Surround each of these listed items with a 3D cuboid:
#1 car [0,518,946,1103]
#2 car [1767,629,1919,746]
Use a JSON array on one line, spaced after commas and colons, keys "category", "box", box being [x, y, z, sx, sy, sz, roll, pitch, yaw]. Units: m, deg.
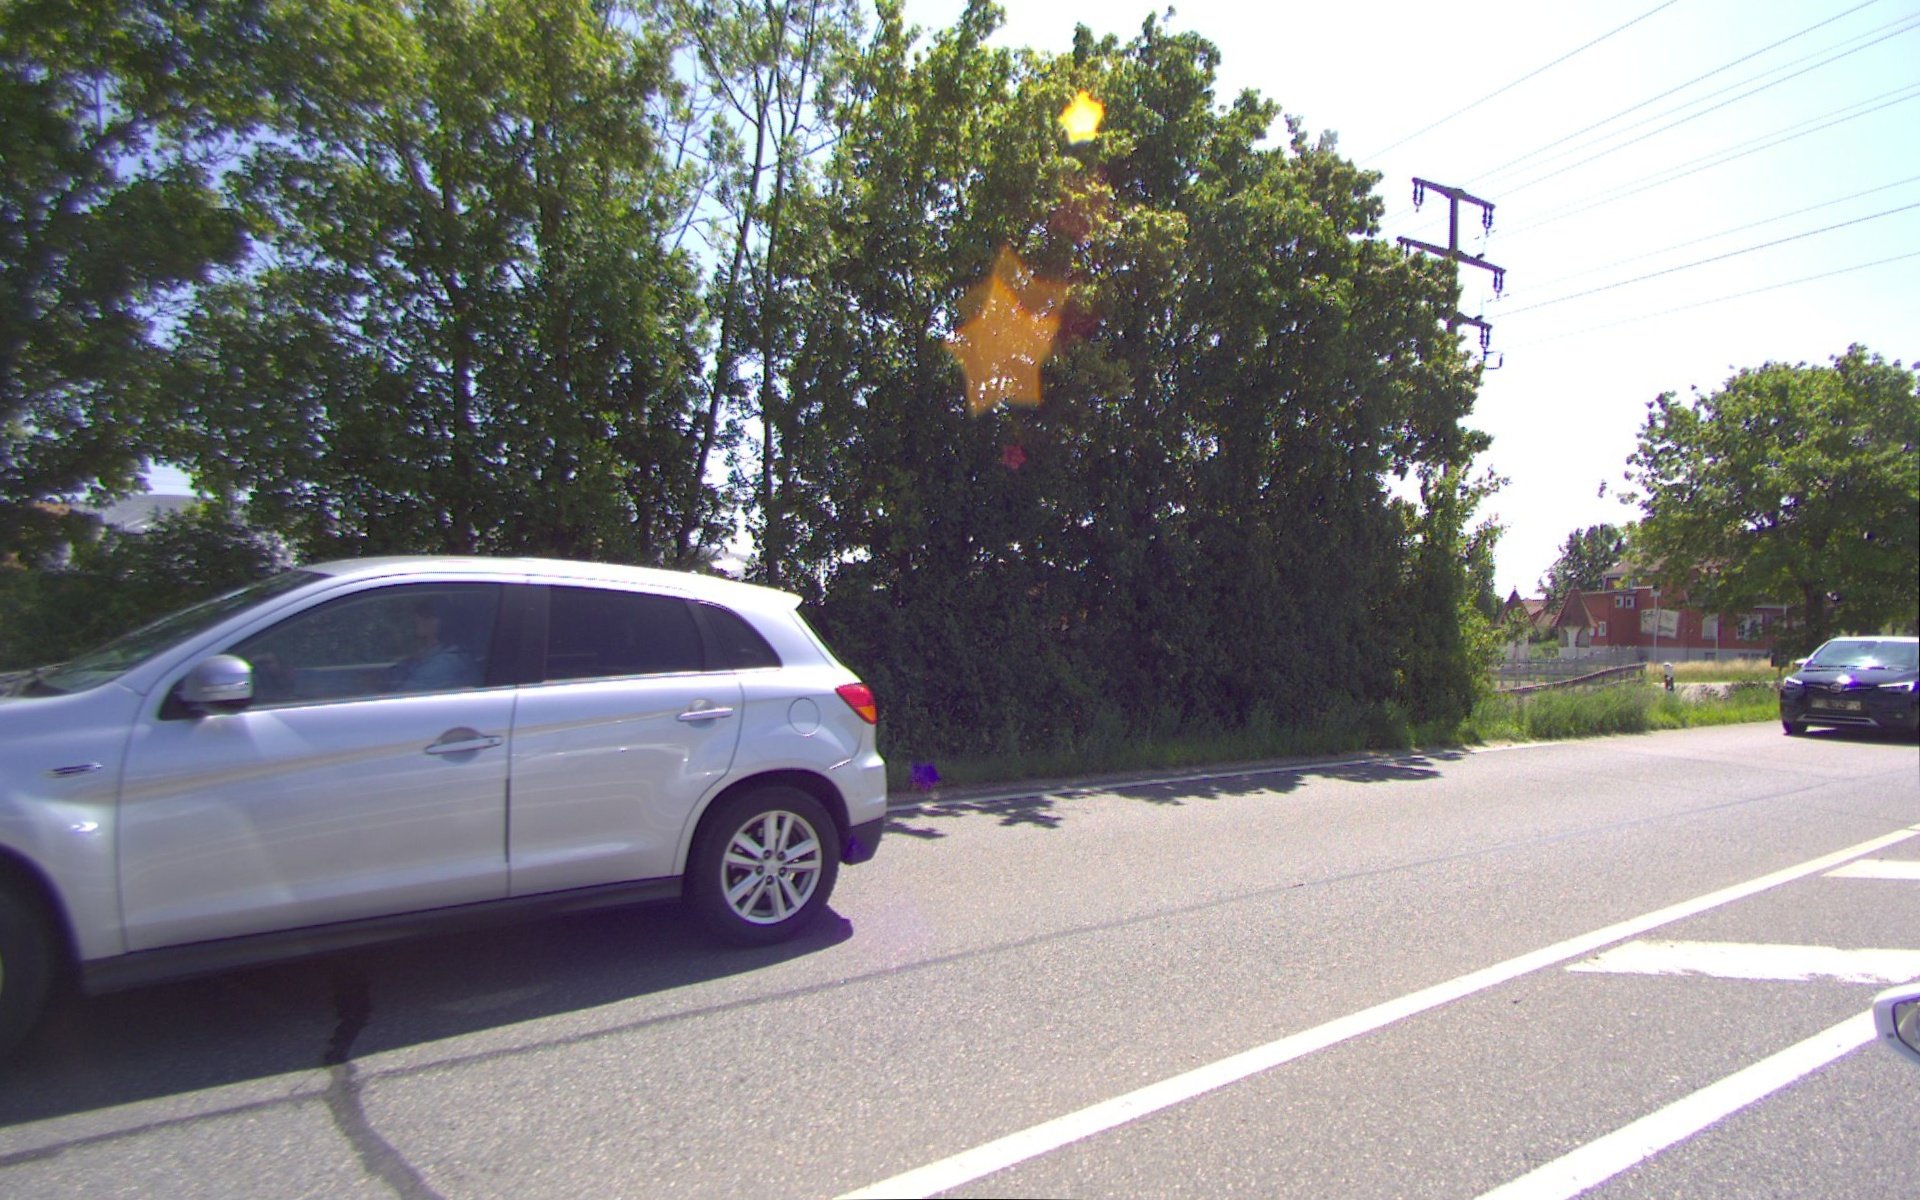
[{"category": "car", "box": [-2.388, 0.589, 4.020, 4.487, 1.610, 1.729, 2, 0, -37]}, {"category": "car", "box": [14.643, 1.313, 16.033, 3.918, 1.611, 1.721, 2, -1, -35]}]
